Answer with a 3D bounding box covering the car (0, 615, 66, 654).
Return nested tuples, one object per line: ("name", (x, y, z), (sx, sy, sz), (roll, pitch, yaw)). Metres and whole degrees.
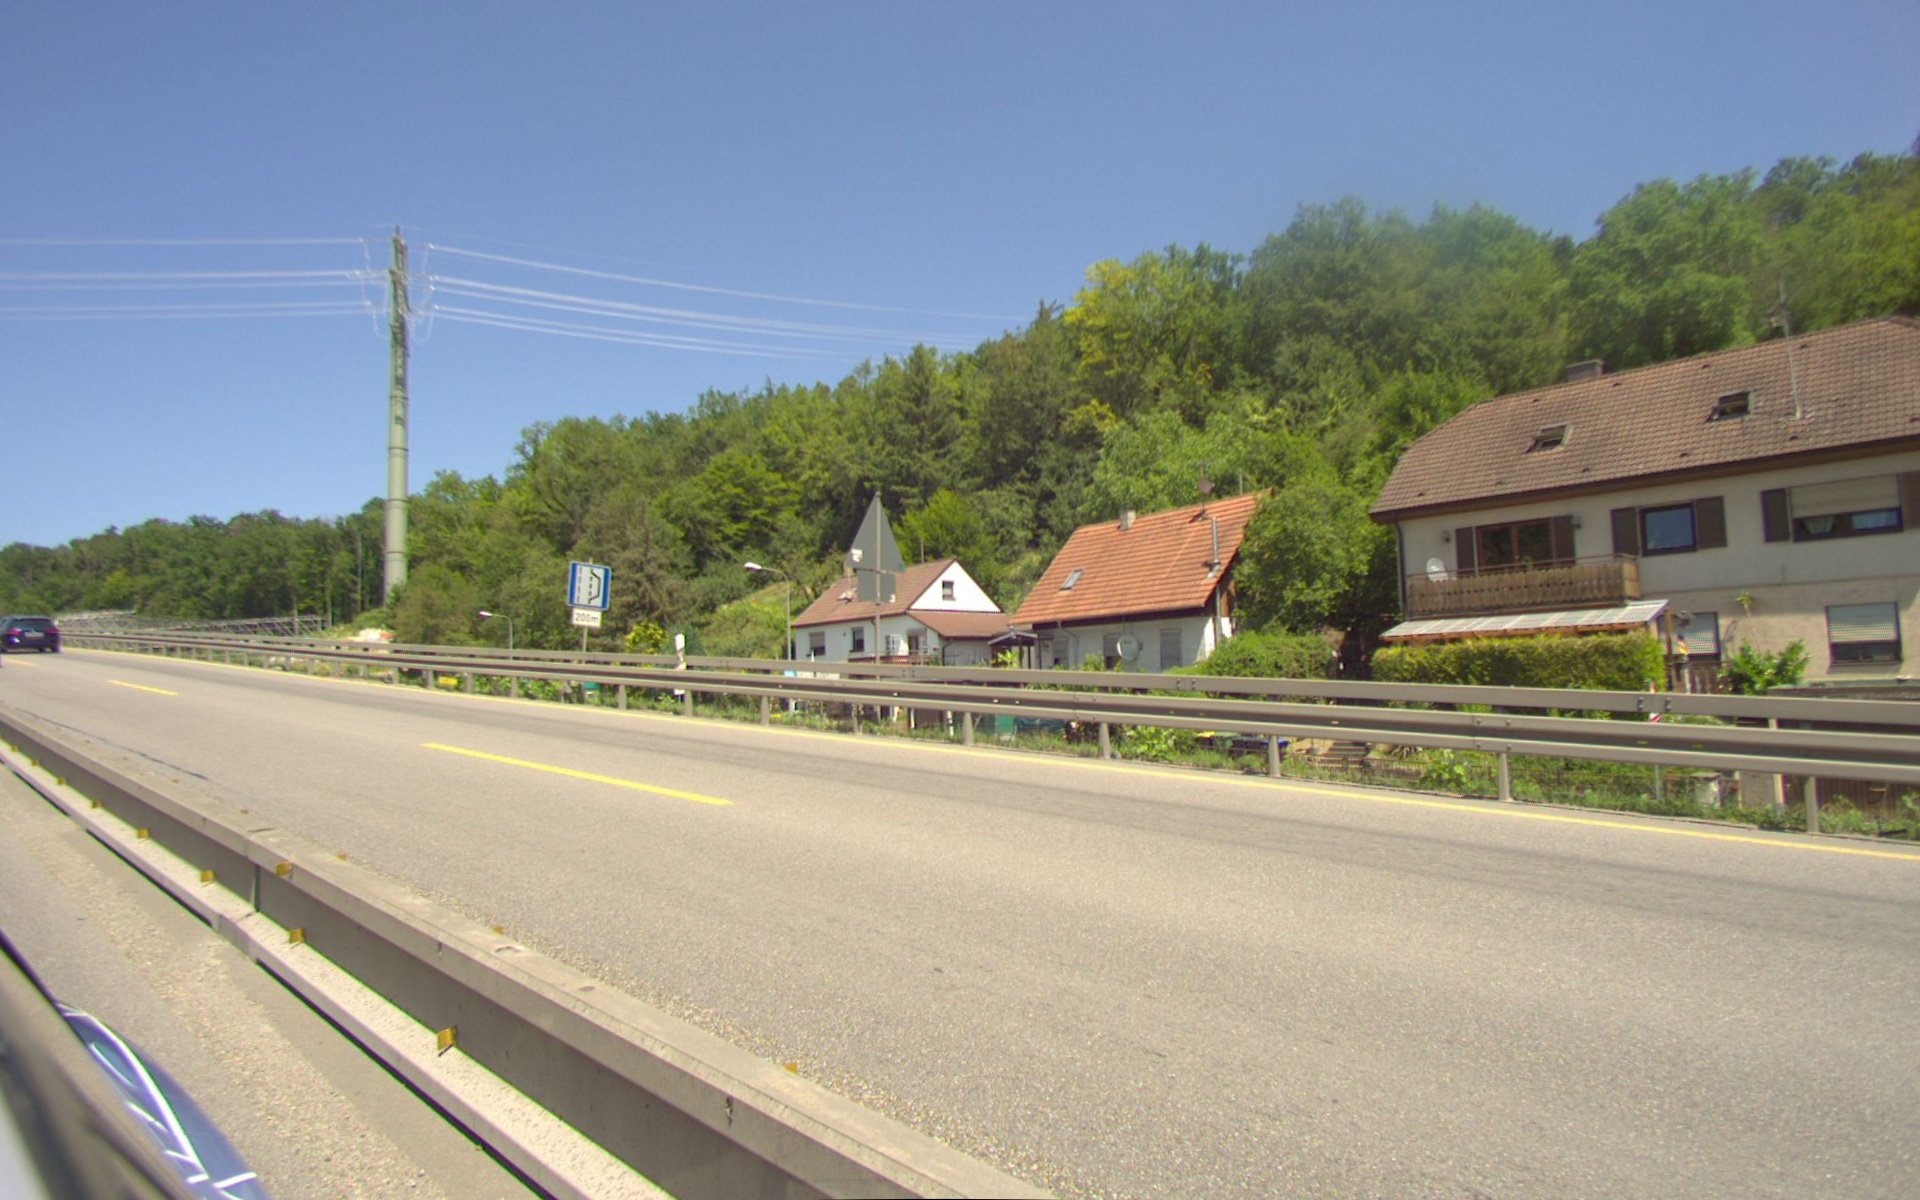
("car", (-36.707, 1.325, 39.726), (4.684, 1.429, 1.822), (0, -2, 41))
